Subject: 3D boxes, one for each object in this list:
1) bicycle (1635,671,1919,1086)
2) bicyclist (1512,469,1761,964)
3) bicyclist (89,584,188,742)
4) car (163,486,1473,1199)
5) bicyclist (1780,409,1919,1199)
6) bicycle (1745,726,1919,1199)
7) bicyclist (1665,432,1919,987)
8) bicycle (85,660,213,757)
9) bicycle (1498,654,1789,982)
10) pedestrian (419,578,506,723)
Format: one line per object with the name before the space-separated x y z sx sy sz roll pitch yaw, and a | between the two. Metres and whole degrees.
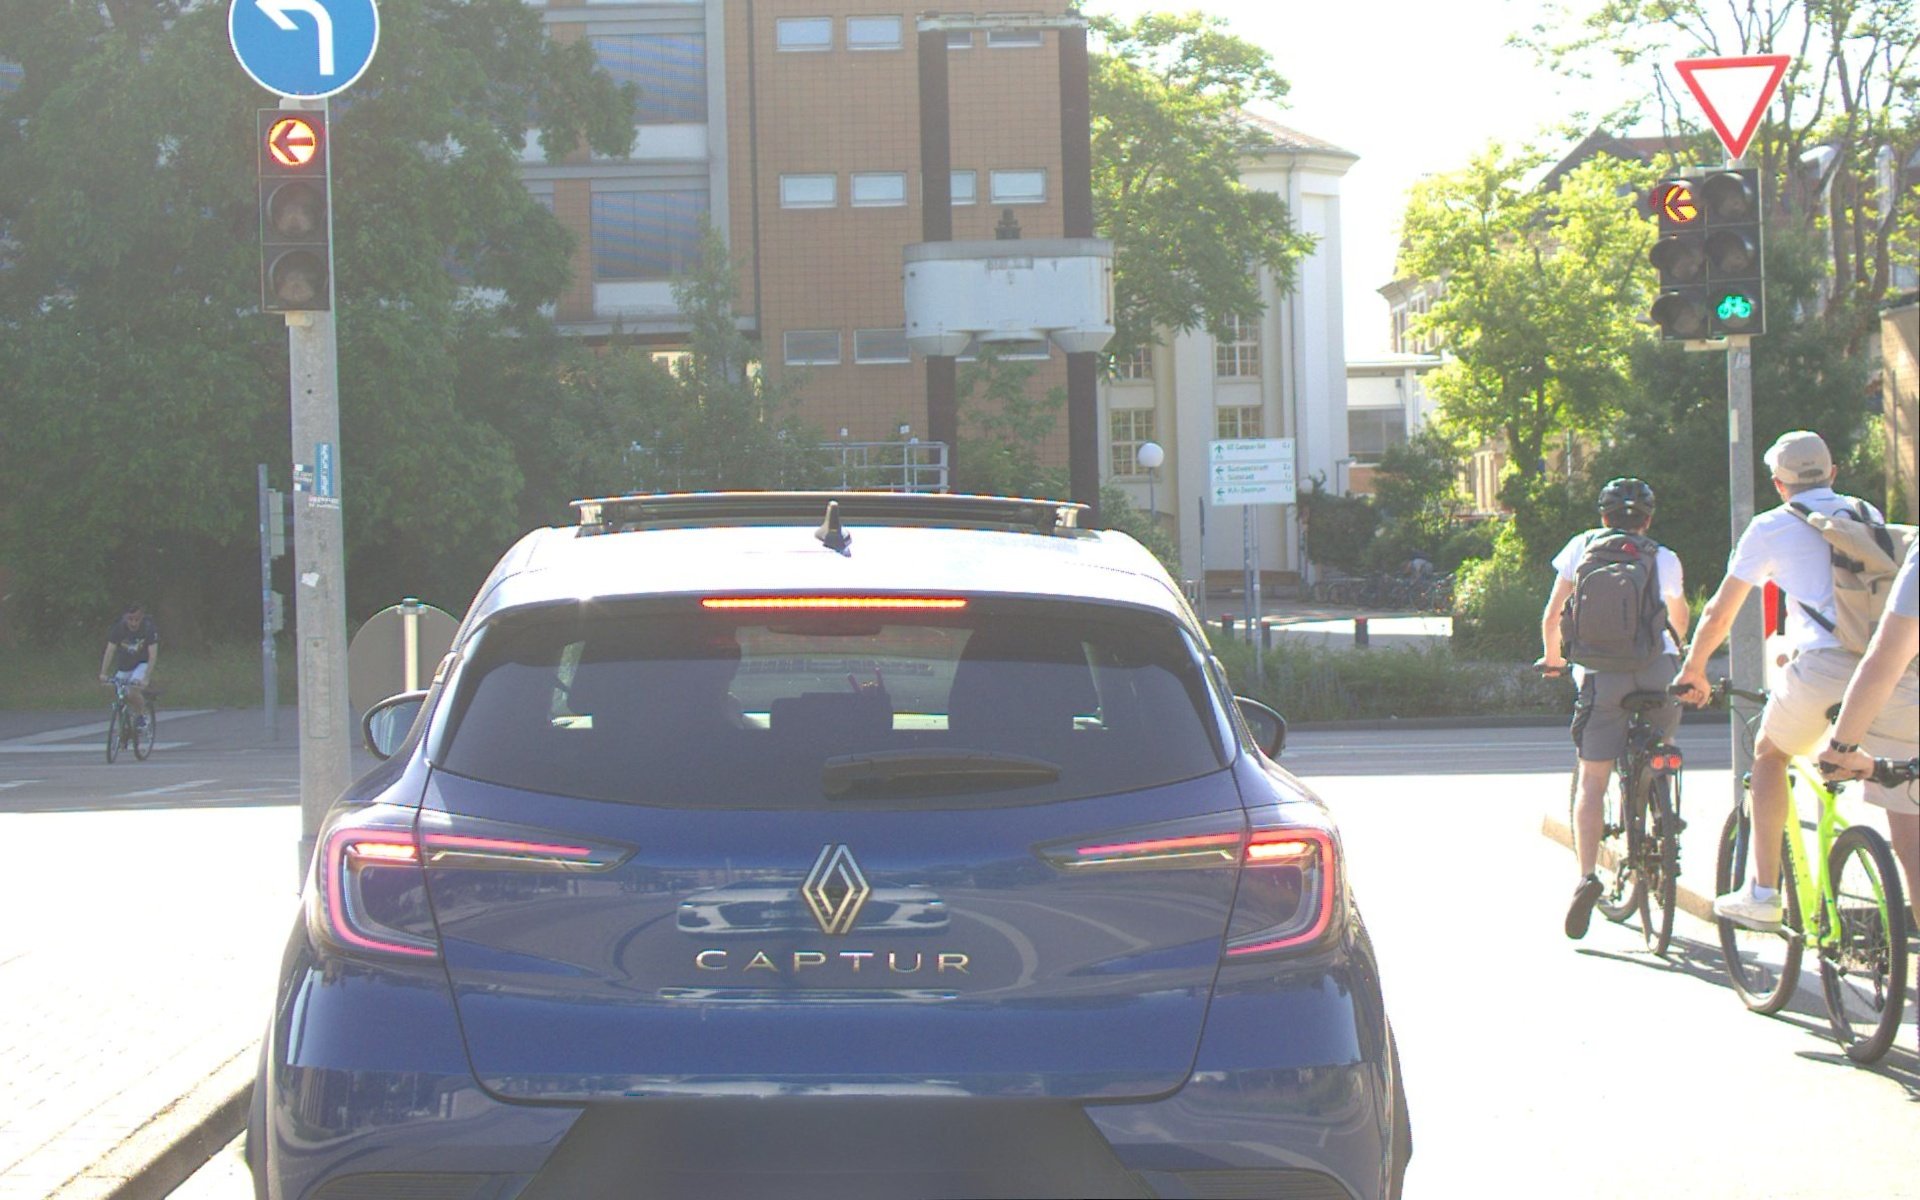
bicycle | 2.604 0.792 10.491 0.689 1.085 1.922 0 1 -1
bicyclist | 2.532 0.412 12.975 0.699 1.785 1.142 0 1 -1
bicyclist | -9.146 0.689 38.315 0.755 1.710 0.998 -1 1 5
car | -0.272 0.611 6.659 1.788 1.580 3.915 0 1 -2
bicyclist | 2.234 0.507 7.341 0.683 1.785 1.142 0 1 -1
bicycle | 2.239 0.857 7.289 0.689 1.085 1.922 0 1 -1
bicyclist | 2.601 0.306 10.419 0.678 1.589 1.142 0 1 -1
bicycle | -9.102 1.204 38.673 0.755 0.981 2.093 -1 1 5
bicycle | 2.525 0.771 12.908 0.689 1.085 1.922 0 1 -1
pedestrian | -6.517 0.655 45.073 0.814 1.856 0.909 -1 1 13
